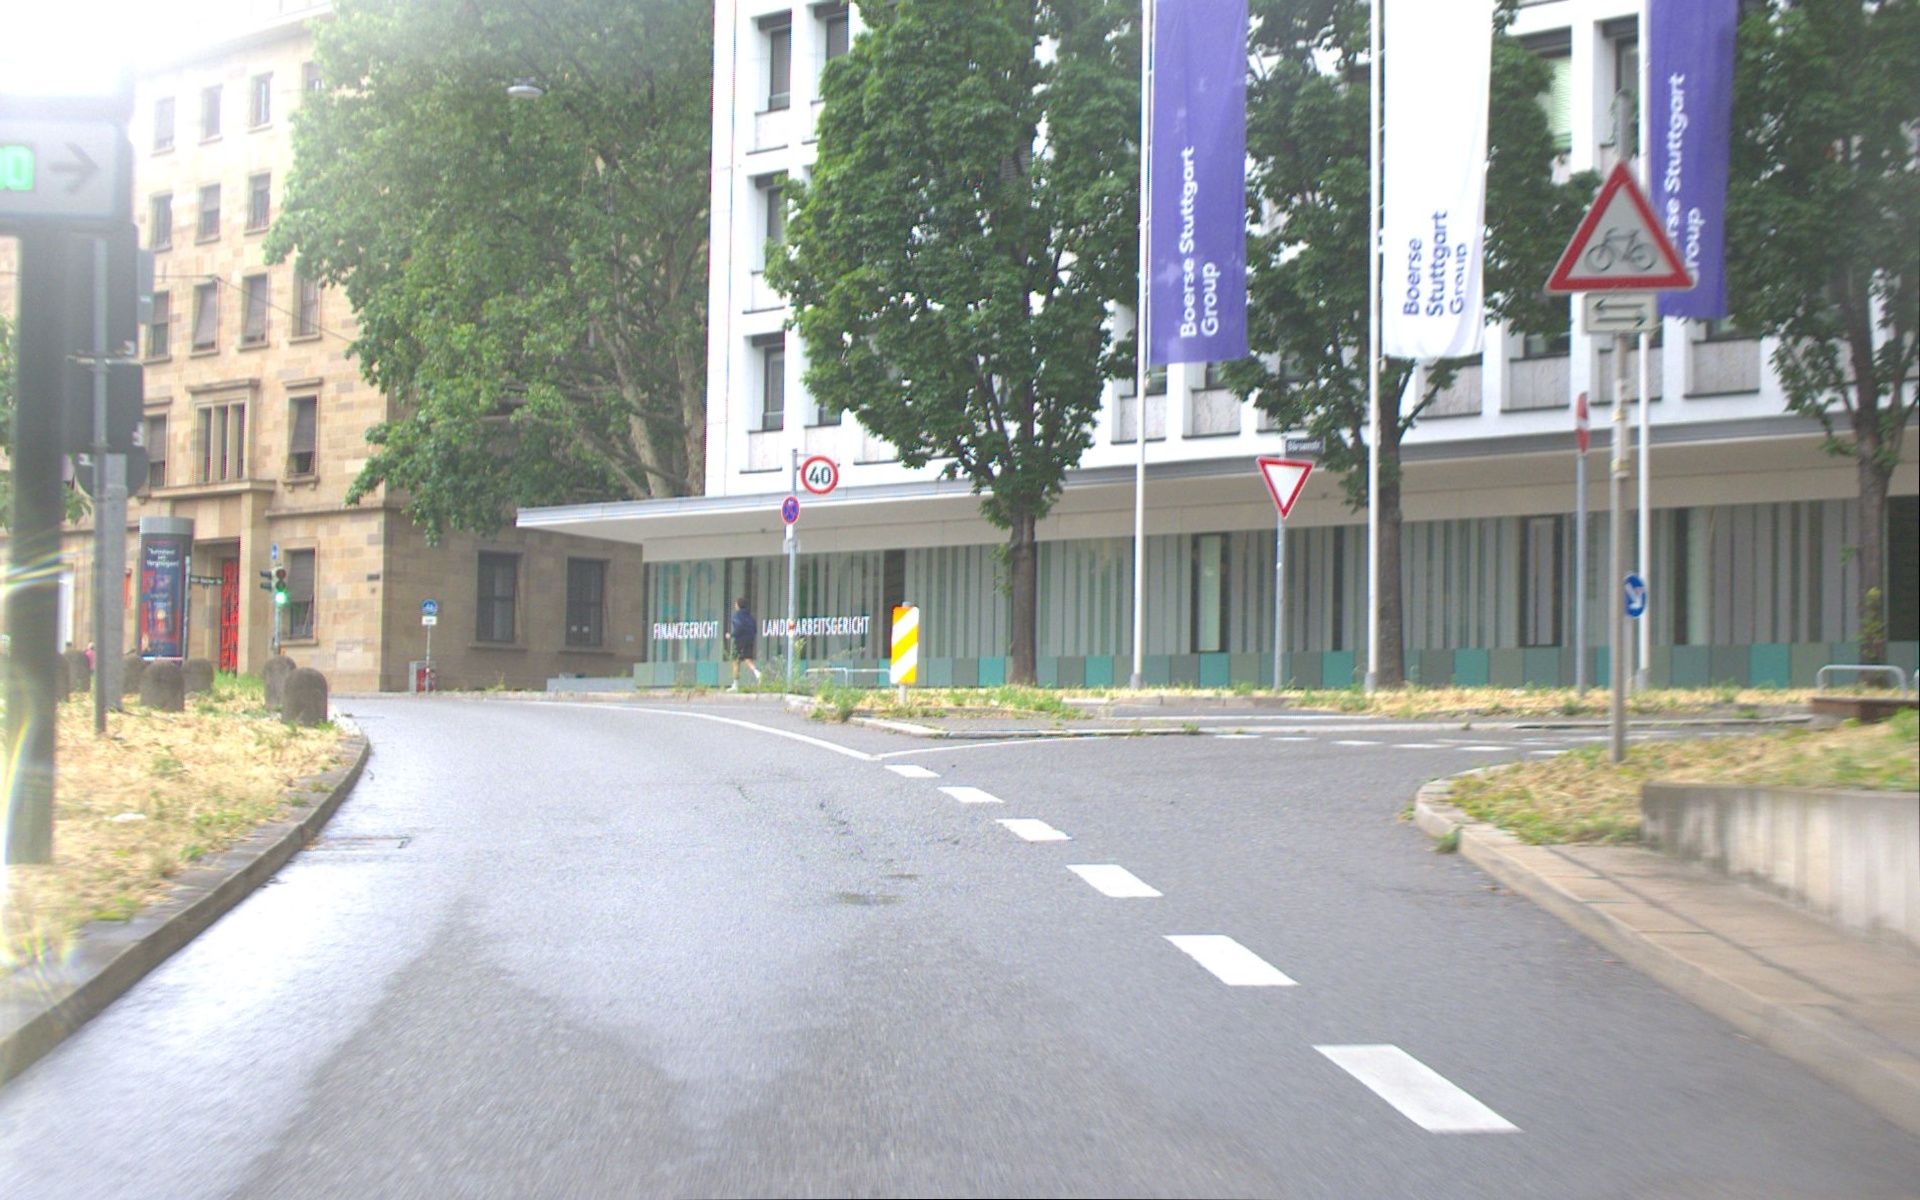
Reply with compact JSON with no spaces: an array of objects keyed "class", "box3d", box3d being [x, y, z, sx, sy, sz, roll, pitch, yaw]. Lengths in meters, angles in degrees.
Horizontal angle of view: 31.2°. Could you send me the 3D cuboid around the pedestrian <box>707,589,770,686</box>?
[{"class":"pedestrian","box3d":[-4.137,0.707,64.284,0.779,1.766,0.862,3,-3,-38]}]
